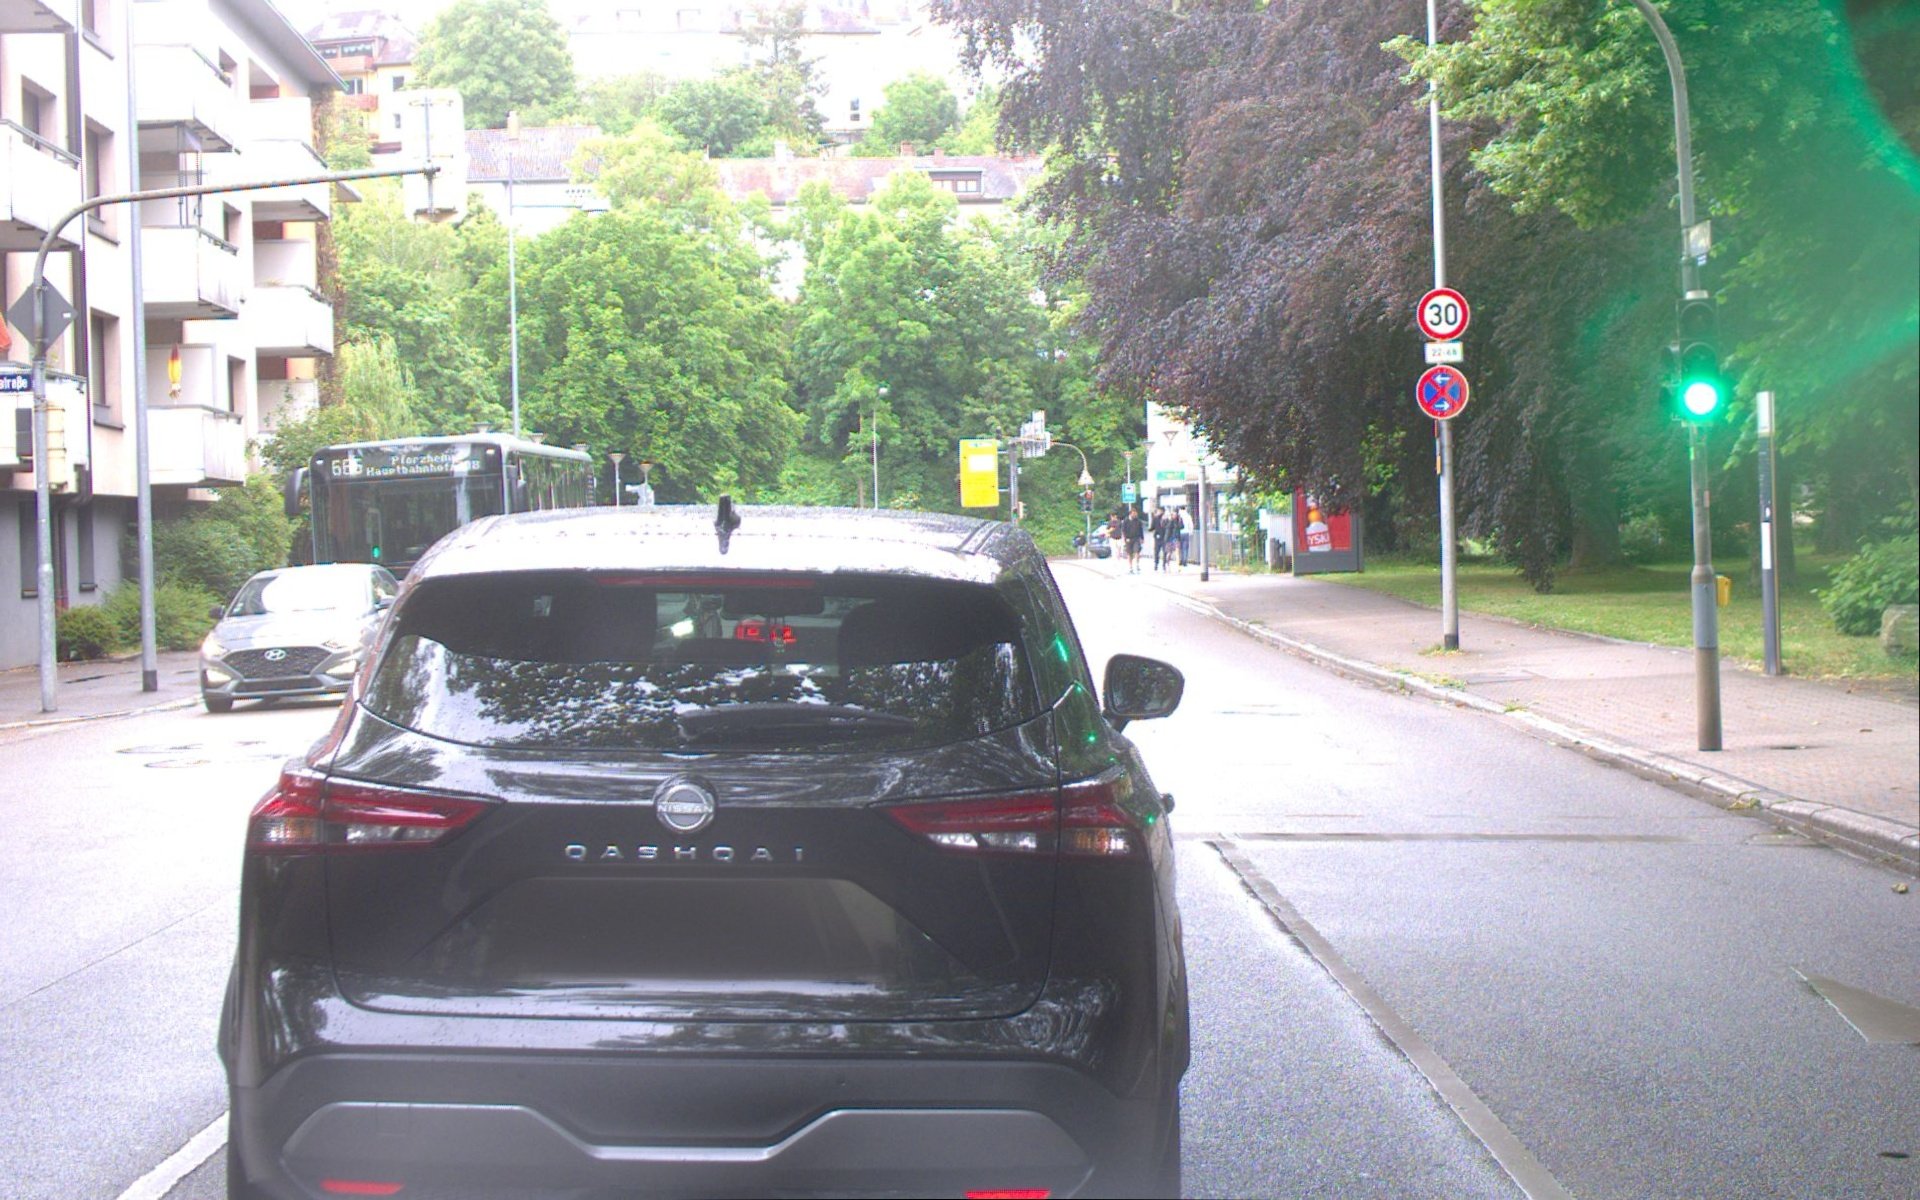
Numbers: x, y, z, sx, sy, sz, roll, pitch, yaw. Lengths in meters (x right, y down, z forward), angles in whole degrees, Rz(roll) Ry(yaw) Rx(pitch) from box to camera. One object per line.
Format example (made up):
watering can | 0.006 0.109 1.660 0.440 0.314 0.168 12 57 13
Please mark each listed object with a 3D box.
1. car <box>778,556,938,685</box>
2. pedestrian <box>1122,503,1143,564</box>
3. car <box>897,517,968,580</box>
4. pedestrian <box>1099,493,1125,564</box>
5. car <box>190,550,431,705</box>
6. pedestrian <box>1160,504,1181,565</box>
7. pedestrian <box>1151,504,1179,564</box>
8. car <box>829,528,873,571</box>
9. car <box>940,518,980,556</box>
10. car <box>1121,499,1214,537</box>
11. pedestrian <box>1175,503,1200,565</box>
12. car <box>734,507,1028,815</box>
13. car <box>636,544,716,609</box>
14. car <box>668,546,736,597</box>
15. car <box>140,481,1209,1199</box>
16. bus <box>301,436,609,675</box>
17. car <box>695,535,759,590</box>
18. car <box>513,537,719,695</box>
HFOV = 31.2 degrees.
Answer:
car | -1.215 0.204 41.071 1.808 1.412 4.031 0 1 -2
pedestrian | 4.750 -1.830 94.607 0.544 1.645 0.490 1 0 0
car | -0.652 -1.256 83.153 1.624 1.410 3.455 -2 1 0
pedestrian | 4.645 -2.189 105.327 0.768 2.176 0.711 1 0 3
car | -6.763 0.241 36.175 1.808 1.412 4.031 -3 1 -2
pedestrian | 5.683 -1.773 92.901 0.514 1.650 0.550 1 0 -1
pedestrian | 5.633 -1.818 94.585 0.699 1.645 0.628 1 0 0
car | -4.699 -2.194 148.803 1.763 1.752 3.635 -2 1 0
car | -0.014 -2.891 156.916 1.750 1.628 3.635 -2 1 0
car | 9.914 -3.914 164.312 3.986 1.678 2.001 -2 1 -10
pedestrian | 6.641 -1.927 100.337 0.618 1.773 0.778 -2 1 -1
car | -0.418 0.310 21.565 1.622 1.703 3.771 -2 1 1
car | -7.022 -0.600 85.255 1.676 1.464 4.217 -3 1 -2
car | -7.260 -0.827 97.066 1.676 1.291 3.752 -3 1 -2
car | -0.512 0.581 7.867 1.806 1.584 4.000 1 1 -1
bus | -7.021 -0.662 49.592 2.766 2.964 11.782 -2 1 -1
car | -7.392 -1.201 109.420 1.750 1.628 3.635 -2 1 0
car | -3.332 0.120 33.843 1.624 1.410 3.455 -2 1 0
